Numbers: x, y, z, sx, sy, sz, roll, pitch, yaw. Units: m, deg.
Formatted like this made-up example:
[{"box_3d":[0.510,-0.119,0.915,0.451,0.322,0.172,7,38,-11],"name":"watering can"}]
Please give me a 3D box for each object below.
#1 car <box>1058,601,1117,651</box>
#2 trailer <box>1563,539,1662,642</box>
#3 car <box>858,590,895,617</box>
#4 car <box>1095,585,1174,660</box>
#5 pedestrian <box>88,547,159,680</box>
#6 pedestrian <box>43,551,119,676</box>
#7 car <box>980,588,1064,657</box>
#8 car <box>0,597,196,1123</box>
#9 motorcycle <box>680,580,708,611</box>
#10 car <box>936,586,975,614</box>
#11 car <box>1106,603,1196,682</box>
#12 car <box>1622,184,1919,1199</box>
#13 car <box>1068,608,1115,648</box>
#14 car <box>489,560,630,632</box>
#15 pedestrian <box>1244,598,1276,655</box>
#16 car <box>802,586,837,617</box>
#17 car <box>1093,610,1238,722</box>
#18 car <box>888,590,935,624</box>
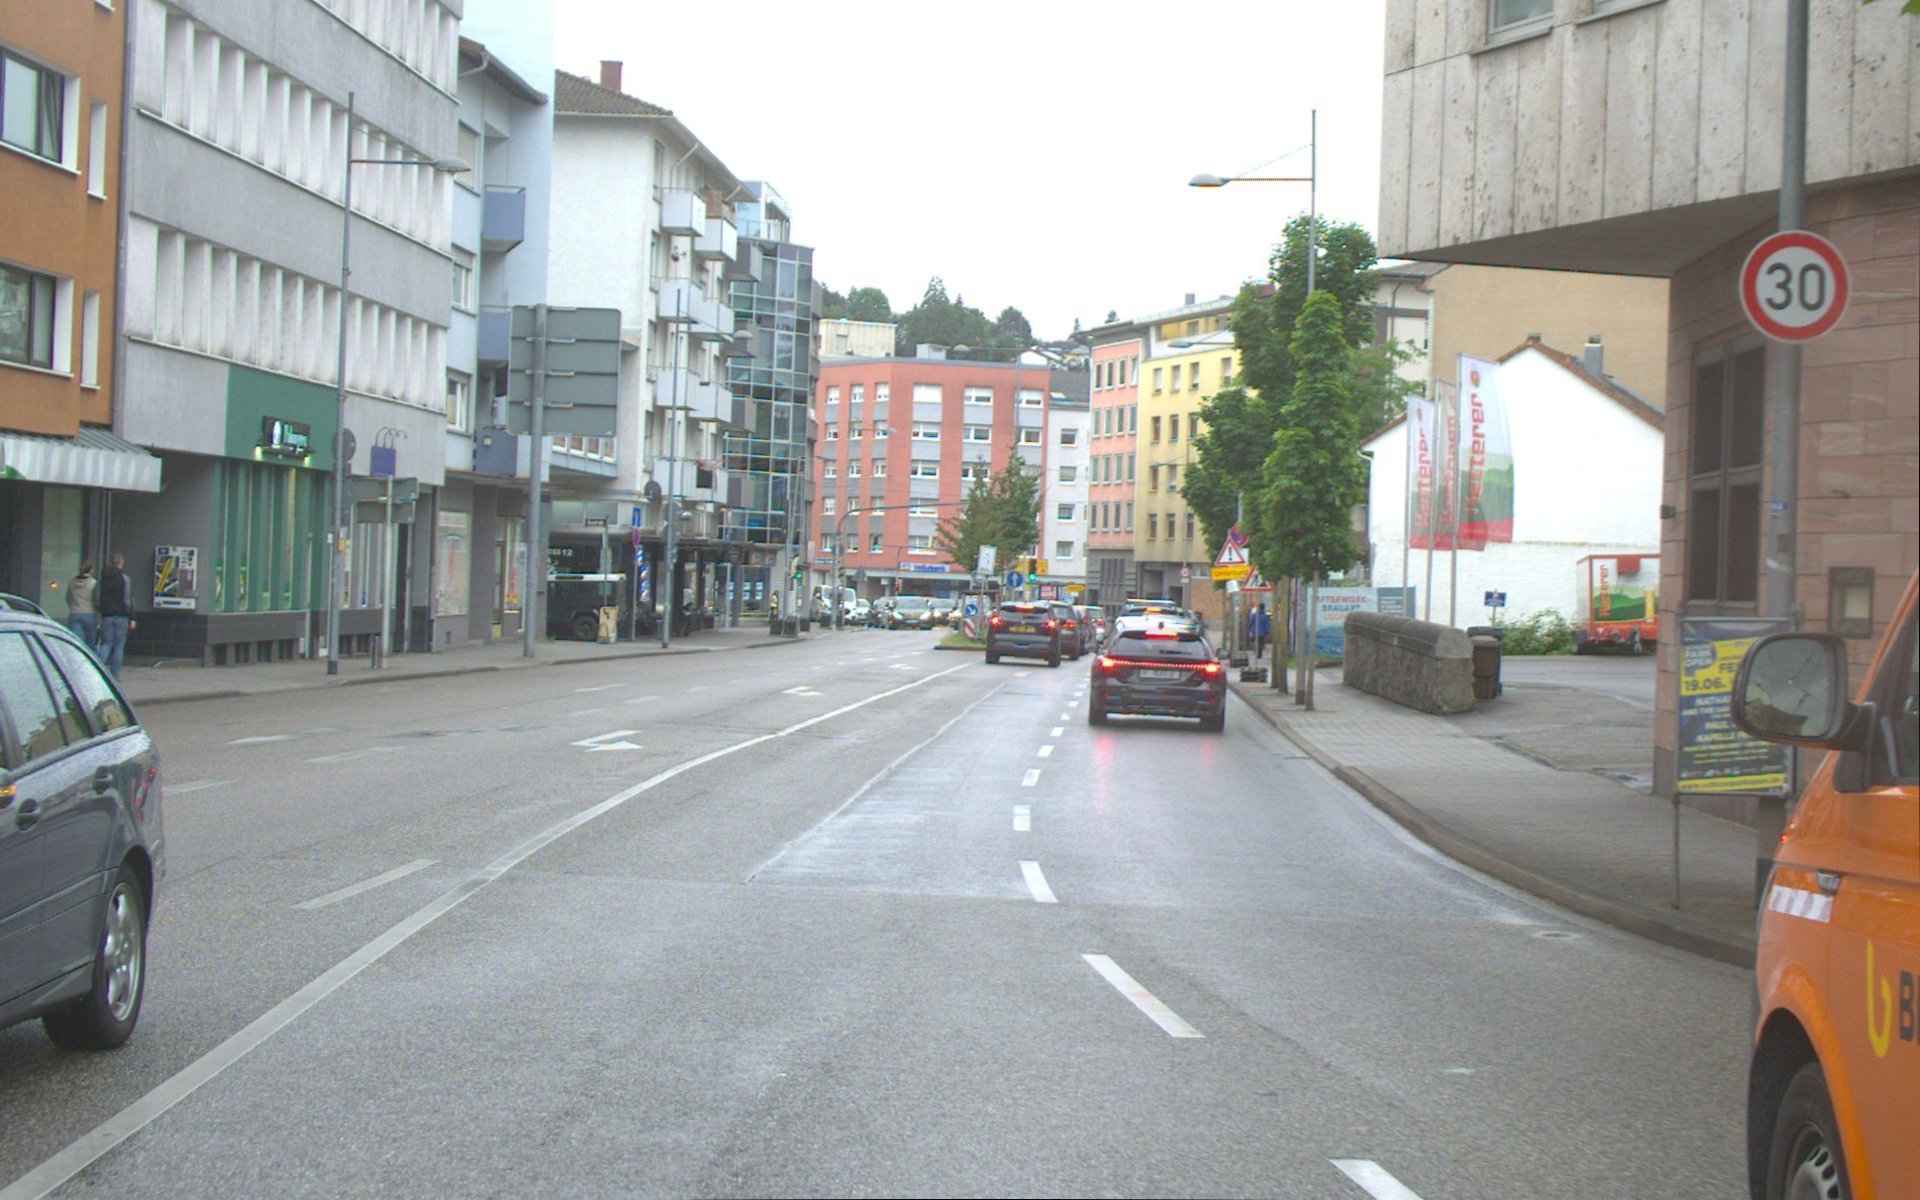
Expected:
[{"box_3d":[3.624,0.719,97.865,1.641,1.376,3.348,1,0,2],"name":"car"},{"box_3d":[17.684,-0.273,93.388,2.127,2.707,5.390,0,1,6],"name":"trailer"},{"box_3d":[-4.390,0.180,180.819,1.720,1.418,4.166,0,0,-4],"name":"car"},{"box_3d":[4.677,0.568,91.699,1.831,1.799,3.718,4,1,5],"name":"car"},{"box_3d":[-11.652,0.187,47.898,0.575,1.782,0.826,6,0,4],"name":"pedestrian"},{"box_3d":[-12.255,0.187,47.942,0.630,1.669,0.908,6,0,2],"name":"pedestrian"},{"box_3d":[1.586,0.564,87.034,1.823,1.595,3.718,4,0,4],"name":"car"},{"box_3d":[-3.506,0.712,9.614,1.733,1.435,4.413,1,0,0],"name":"car"},{"box_3d":[-8.801,-0.144,113.822,0.526,0.992,2.136,4,0,5],"name":"motorcycle"},{"box_3d":[-0.254,0.012,177.828,1.720,1.418,4.166,0,0,-4],"name":"car"},{"box_3d":[3.772,0.817,67.539,1.665,1.391,3.866,3,1,4],"name":"car"},{"box_3d":[2.459,0.434,4.346,2.101,2.082,5.541,0,0,-1],"name":"car"},{"box_3d":[4.664,0.970,121.777,1.641,1.376,3.348,1,0,2],"name":"car"},{"box_3d":[-12.100,-0.127,103.936,3.964,2.027,1.580,2,0,4],"name":"car"},{"box_3d":[9.242,0.814,105.849,0.792,1.749,0.871,1,0,17],"name":"pedestrian"},{"box_3d":[-7.400,0.065,181.320,1.455,1.425,3.371,4,1,-8],"name":"car"},{"box_3d":[2.810,0.884,47.920,1.789,1.398,4.633,2,0,1],"name":"car"},{"box_3d":[-2.185,0.310,156.245,1.708,1.463,4.828,-1,0,4],"name":"car"}]
